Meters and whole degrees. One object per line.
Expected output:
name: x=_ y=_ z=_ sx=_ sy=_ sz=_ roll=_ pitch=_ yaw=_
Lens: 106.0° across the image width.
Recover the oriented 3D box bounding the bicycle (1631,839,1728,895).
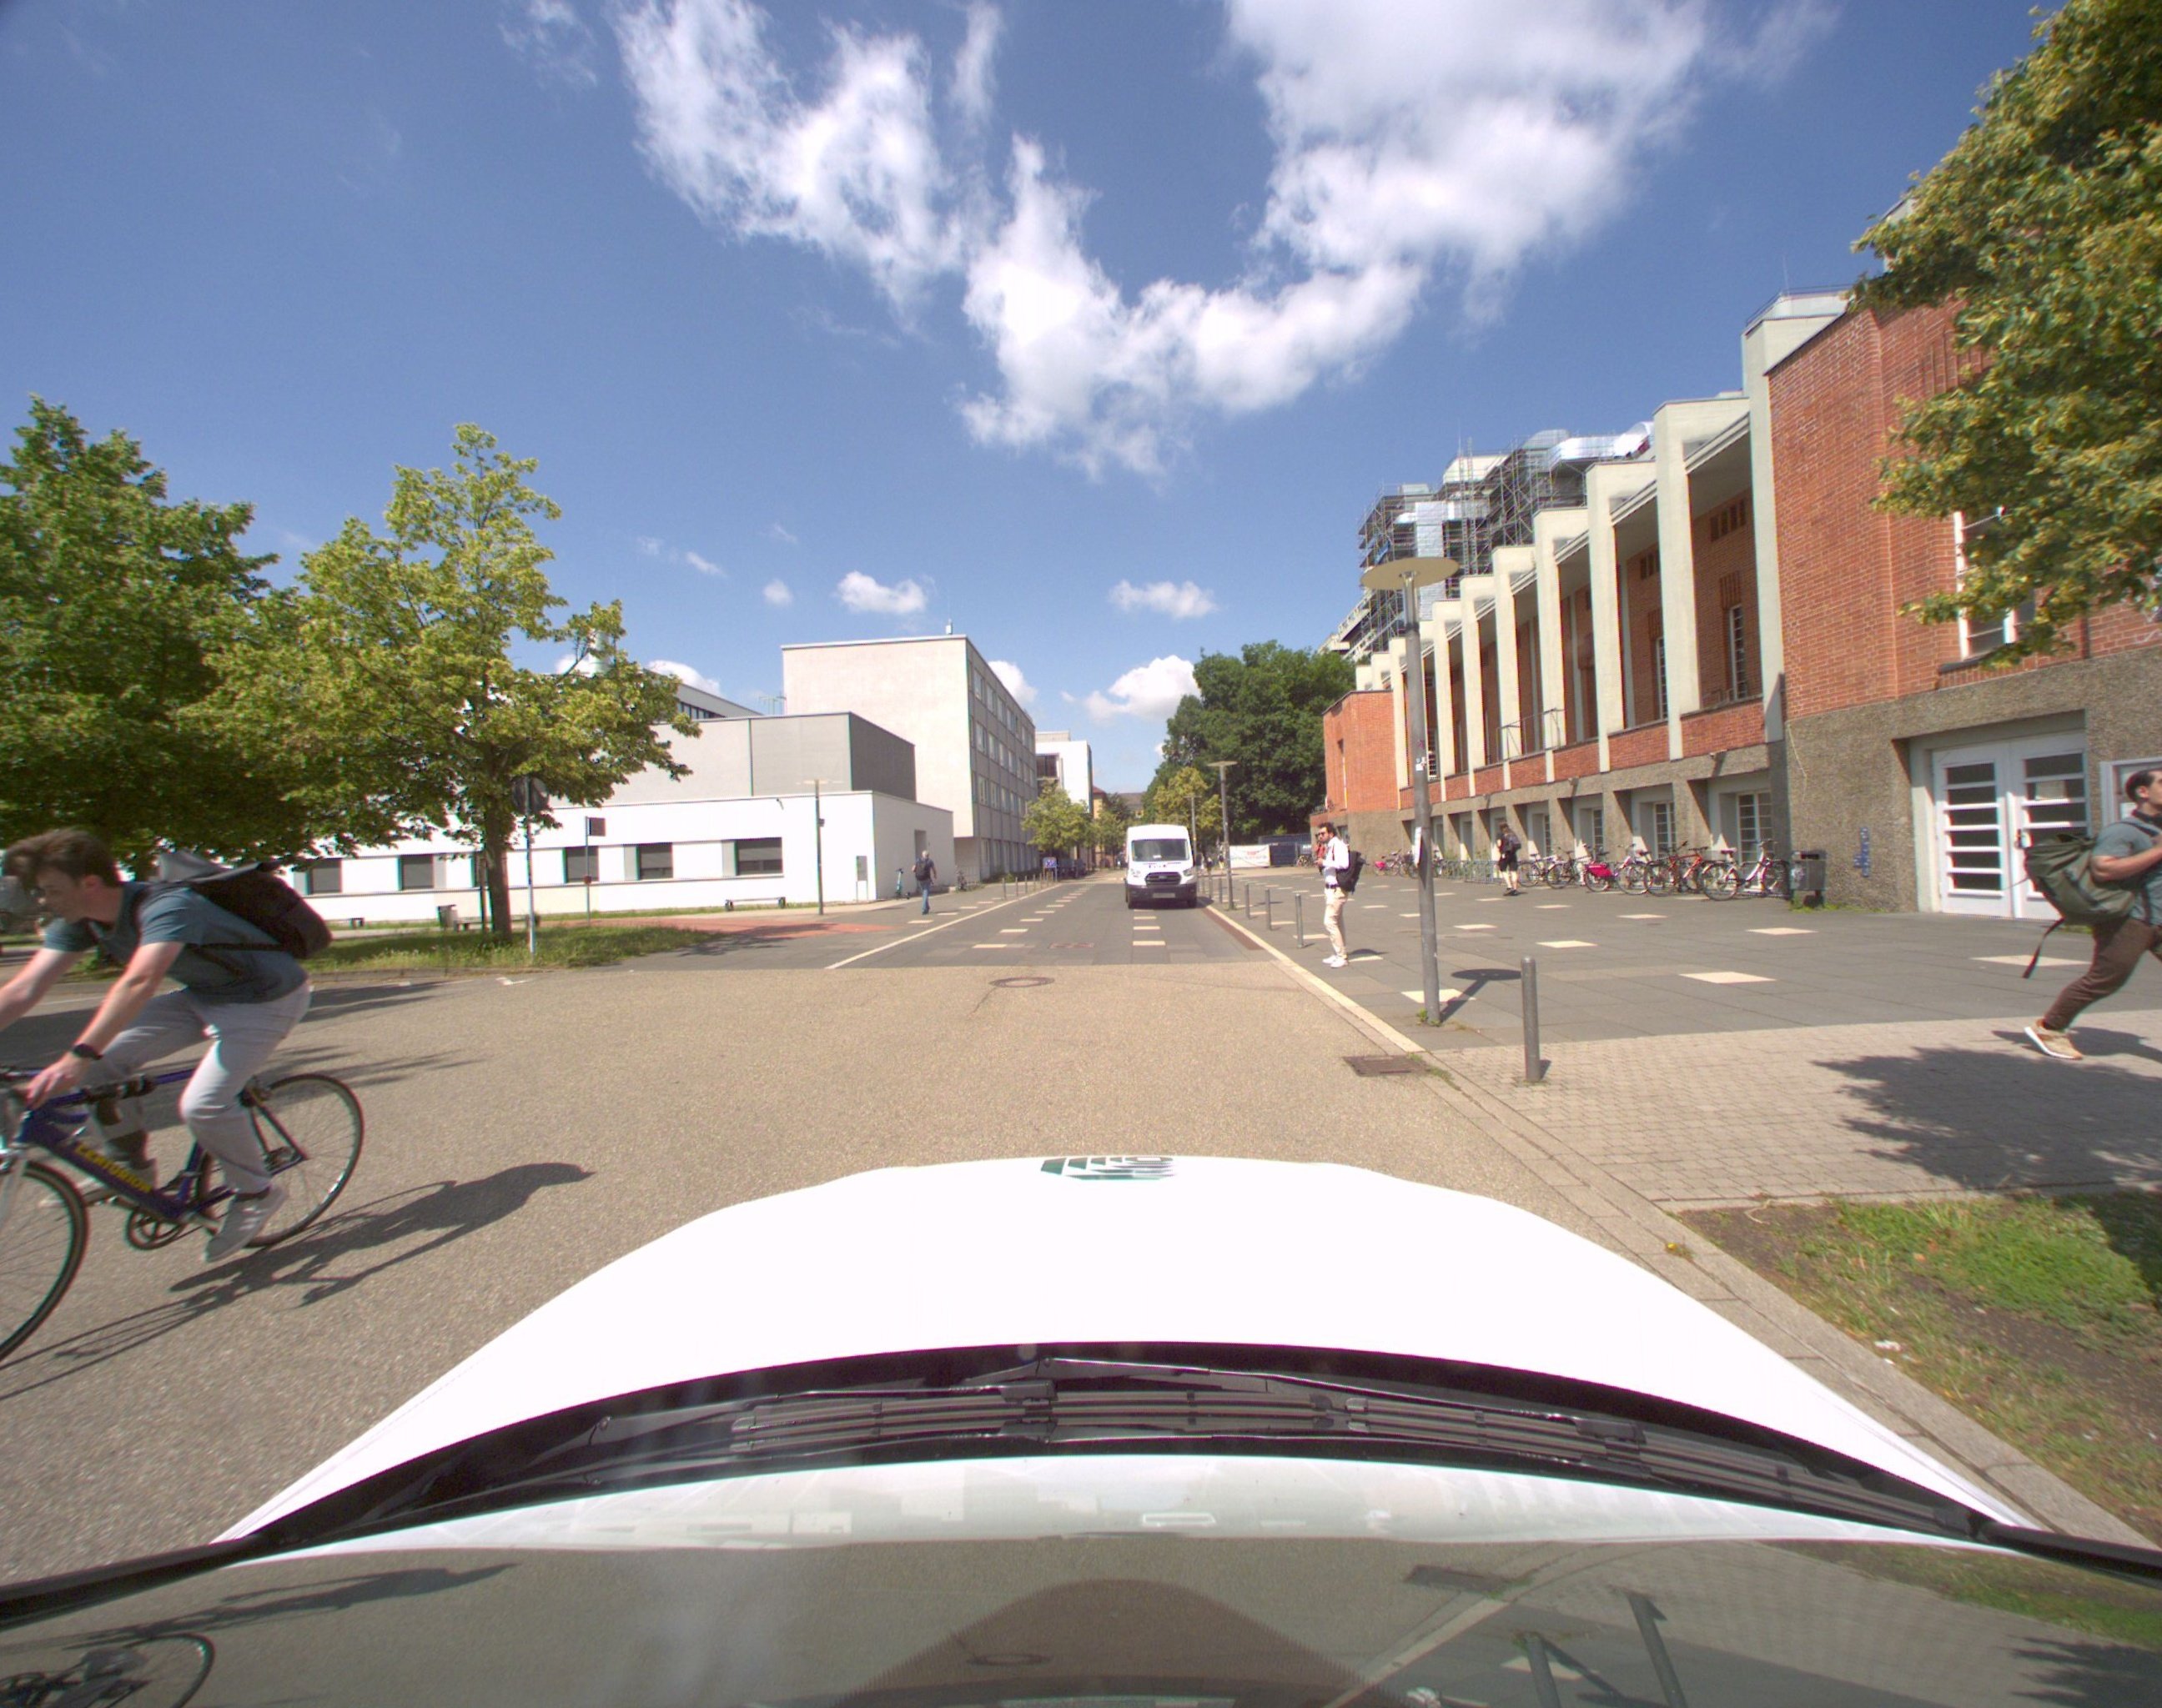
bicycle: x=12.794 y=0.284 z=17.431 sx=1.688 sy=1.110 sz=0.436 roll=-3 pitch=-1 yaw=1

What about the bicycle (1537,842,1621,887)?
bicycle: x=13.163 y=0.279 z=21.558 sx=1.904 sy=1.110 sz=0.436 roll=-3 pitch=-1 yaw=1

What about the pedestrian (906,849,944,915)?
pedestrian: x=-4.478 y=0.789 z=23.421 sx=0.821 sy=1.817 sz=1.143 roll=-2 pitch=-1 yaw=-2

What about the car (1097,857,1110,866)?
car: x=3.548 y=1.237 z=127.914 sx=1.810 sy=1.324 sz=3.770 roll=-2 pitch=-1 yaw=3

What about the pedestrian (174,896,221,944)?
pedestrian: x=-29.821 y=2.218 z=27.501 sx=0.724 sy=1.562 sz=0.759 roll=-2 pitch=-1 yaw=6

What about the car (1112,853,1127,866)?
car: x=5.980 y=0.806 z=127.813 sx=2.167 sy=1.926 sz=5.188 roll=-2 pitch=-1 yaw=2

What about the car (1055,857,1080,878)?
car: x=-1.029 y=1.049 z=64.196 sx=1.690 sy=1.564 sz=4.070 roll=-2 pitch=0 yaw=2

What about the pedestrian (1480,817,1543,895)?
pedestrian: x=10.702 y=0.054 z=20.308 sx=0.842 sy=1.834 sz=1.196 roll=-2 pitch=-1 yaw=-2

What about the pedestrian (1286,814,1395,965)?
pedestrian: x=3.390 y=0.446 z=10.626 sx=1.012 sy=1.848 sz=0.922 roll=-5 pitch=-1 yaw=34

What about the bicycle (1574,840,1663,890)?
bicycle: x=13.021 y=0.270 z=19.749 sx=1.790 sy=1.110 sz=0.436 roll=-3 pitch=-1 yaw=1

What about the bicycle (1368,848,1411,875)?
bicycle: x=14.130 y=0.352 z=37.294 sx=1.746 sy=1.149 sz=0.436 roll=-3 pitch=-1 yaw=1

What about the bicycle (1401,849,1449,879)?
bicycle: x=13.708 y=0.377 z=32.436 sx=1.676 sy=1.110 sz=0.436 roll=-3 pitch=-1 yaw=1

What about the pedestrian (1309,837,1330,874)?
pedestrian: x=12.411 y=0.080 z=42.381 sx=0.663 sy=1.834 sz=0.902 roll=-2 pitch=-1 yaw=-12

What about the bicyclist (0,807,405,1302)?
bicyclist: x=-3.346 y=0.602 z=3.019 sx=0.584 sy=1.453 sz=1.233 roll=-3 pitch=0 yaw=1

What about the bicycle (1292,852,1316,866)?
bicycle: x=17.146 y=0.378 z=62.677 sx=1.664 sy=1.003 sz=0.448 roll=-3 pitch=-1 yaw=3

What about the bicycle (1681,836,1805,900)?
bicycle: x=12.684 y=0.266 z=15.626 sx=1.922 sy=1.110 sz=0.457 roll=-3 pitch=-1 yaw=1

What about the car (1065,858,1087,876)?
car: x=-0.388 y=1.124 z=72.300 sx=1.771 sy=1.461 sz=4.261 roll=-1 pitch=0 yaw=2

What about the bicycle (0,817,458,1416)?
bicycle: x=-3.346 y=0.751 z=3.058 sx=0.585 sy=1.680 sz=1.759 roll=-3 pitch=0 yaw=0

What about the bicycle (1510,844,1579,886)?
bicycle: x=13.217 y=0.306 z=23.234 sx=1.676 sy=1.110 sz=0.436 roll=-3 pitch=-1 yaw=1

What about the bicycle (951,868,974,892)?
bicycle: x=-5.754 y=1.253 z=39.657 sx=0.540 sy=1.061 sz=1.904 roll=-2 pitch=0 yaw=9

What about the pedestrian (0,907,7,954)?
pedestrian: x=-38.103 y=2.688 z=28.251 sx=0.723 sy=1.654 sz=0.804 roll=-2 pitch=-1 yaw=20

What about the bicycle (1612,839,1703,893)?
bicycle: x=12.825 y=0.273 z=18.127 sx=1.644 sy=1.110 sz=0.436 roll=-3 pitch=-1 yaw=1

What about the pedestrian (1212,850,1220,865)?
pedestrian: x=16.289 y=0.440 z=98.354 sx=0.748 sy=1.710 sz=0.558 roll=-2 pitch=-1 yaw=-32

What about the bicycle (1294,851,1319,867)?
bicycle: x=16.685 y=0.371 z=60.190 sx=1.694 sy=1.109 sz=0.448 roll=-3 pitch=-1 yaw=3

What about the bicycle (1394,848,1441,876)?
bicycle: x=14.011 y=0.337 z=33.925 sx=1.740 sy=1.110 sz=0.436 roll=-3 pitch=-1 yaw=1

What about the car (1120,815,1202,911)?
car: x=2.327 y=0.247 z=25.290 sx=2.051 sy=2.543 sz=5.852 roll=-3 pitch=0 yaw=2

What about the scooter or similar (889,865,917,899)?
scooter or similar: x=-7.090 y=1.099 z=32.437 sx=0.479 sy=1.263 sz=1.319 roll=-2 pitch=-1 yaw=16

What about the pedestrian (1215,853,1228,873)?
pedestrian: x=9.855 y=0.620 z=57.142 sx=0.694 sy=1.330 sz=0.716 roll=-3 pitch=-1 yaw=0

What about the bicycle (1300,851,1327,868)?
bicycle: x=16.638 y=0.398 z=58.280 sx=1.798 sy=1.109 sz=0.448 roll=-3 pitch=-1 yaw=3

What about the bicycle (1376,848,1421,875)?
bicycle: x=14.172 y=0.331 z=36.364 sx=1.746 sy=1.149 sz=0.518 roll=-3 pitch=-1 yaw=1

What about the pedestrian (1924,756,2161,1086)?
pedestrian: x=5.845 y=0.329 z=4.679 sx=0.780 sy=1.675 sz=1.079 roll=-3 pitch=-1 yaw=1

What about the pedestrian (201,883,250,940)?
pedestrian: x=-29.695 y=1.991 z=28.280 sx=0.757 sy=1.884 sz=0.827 roll=-2 pitch=-1 yaw=6
